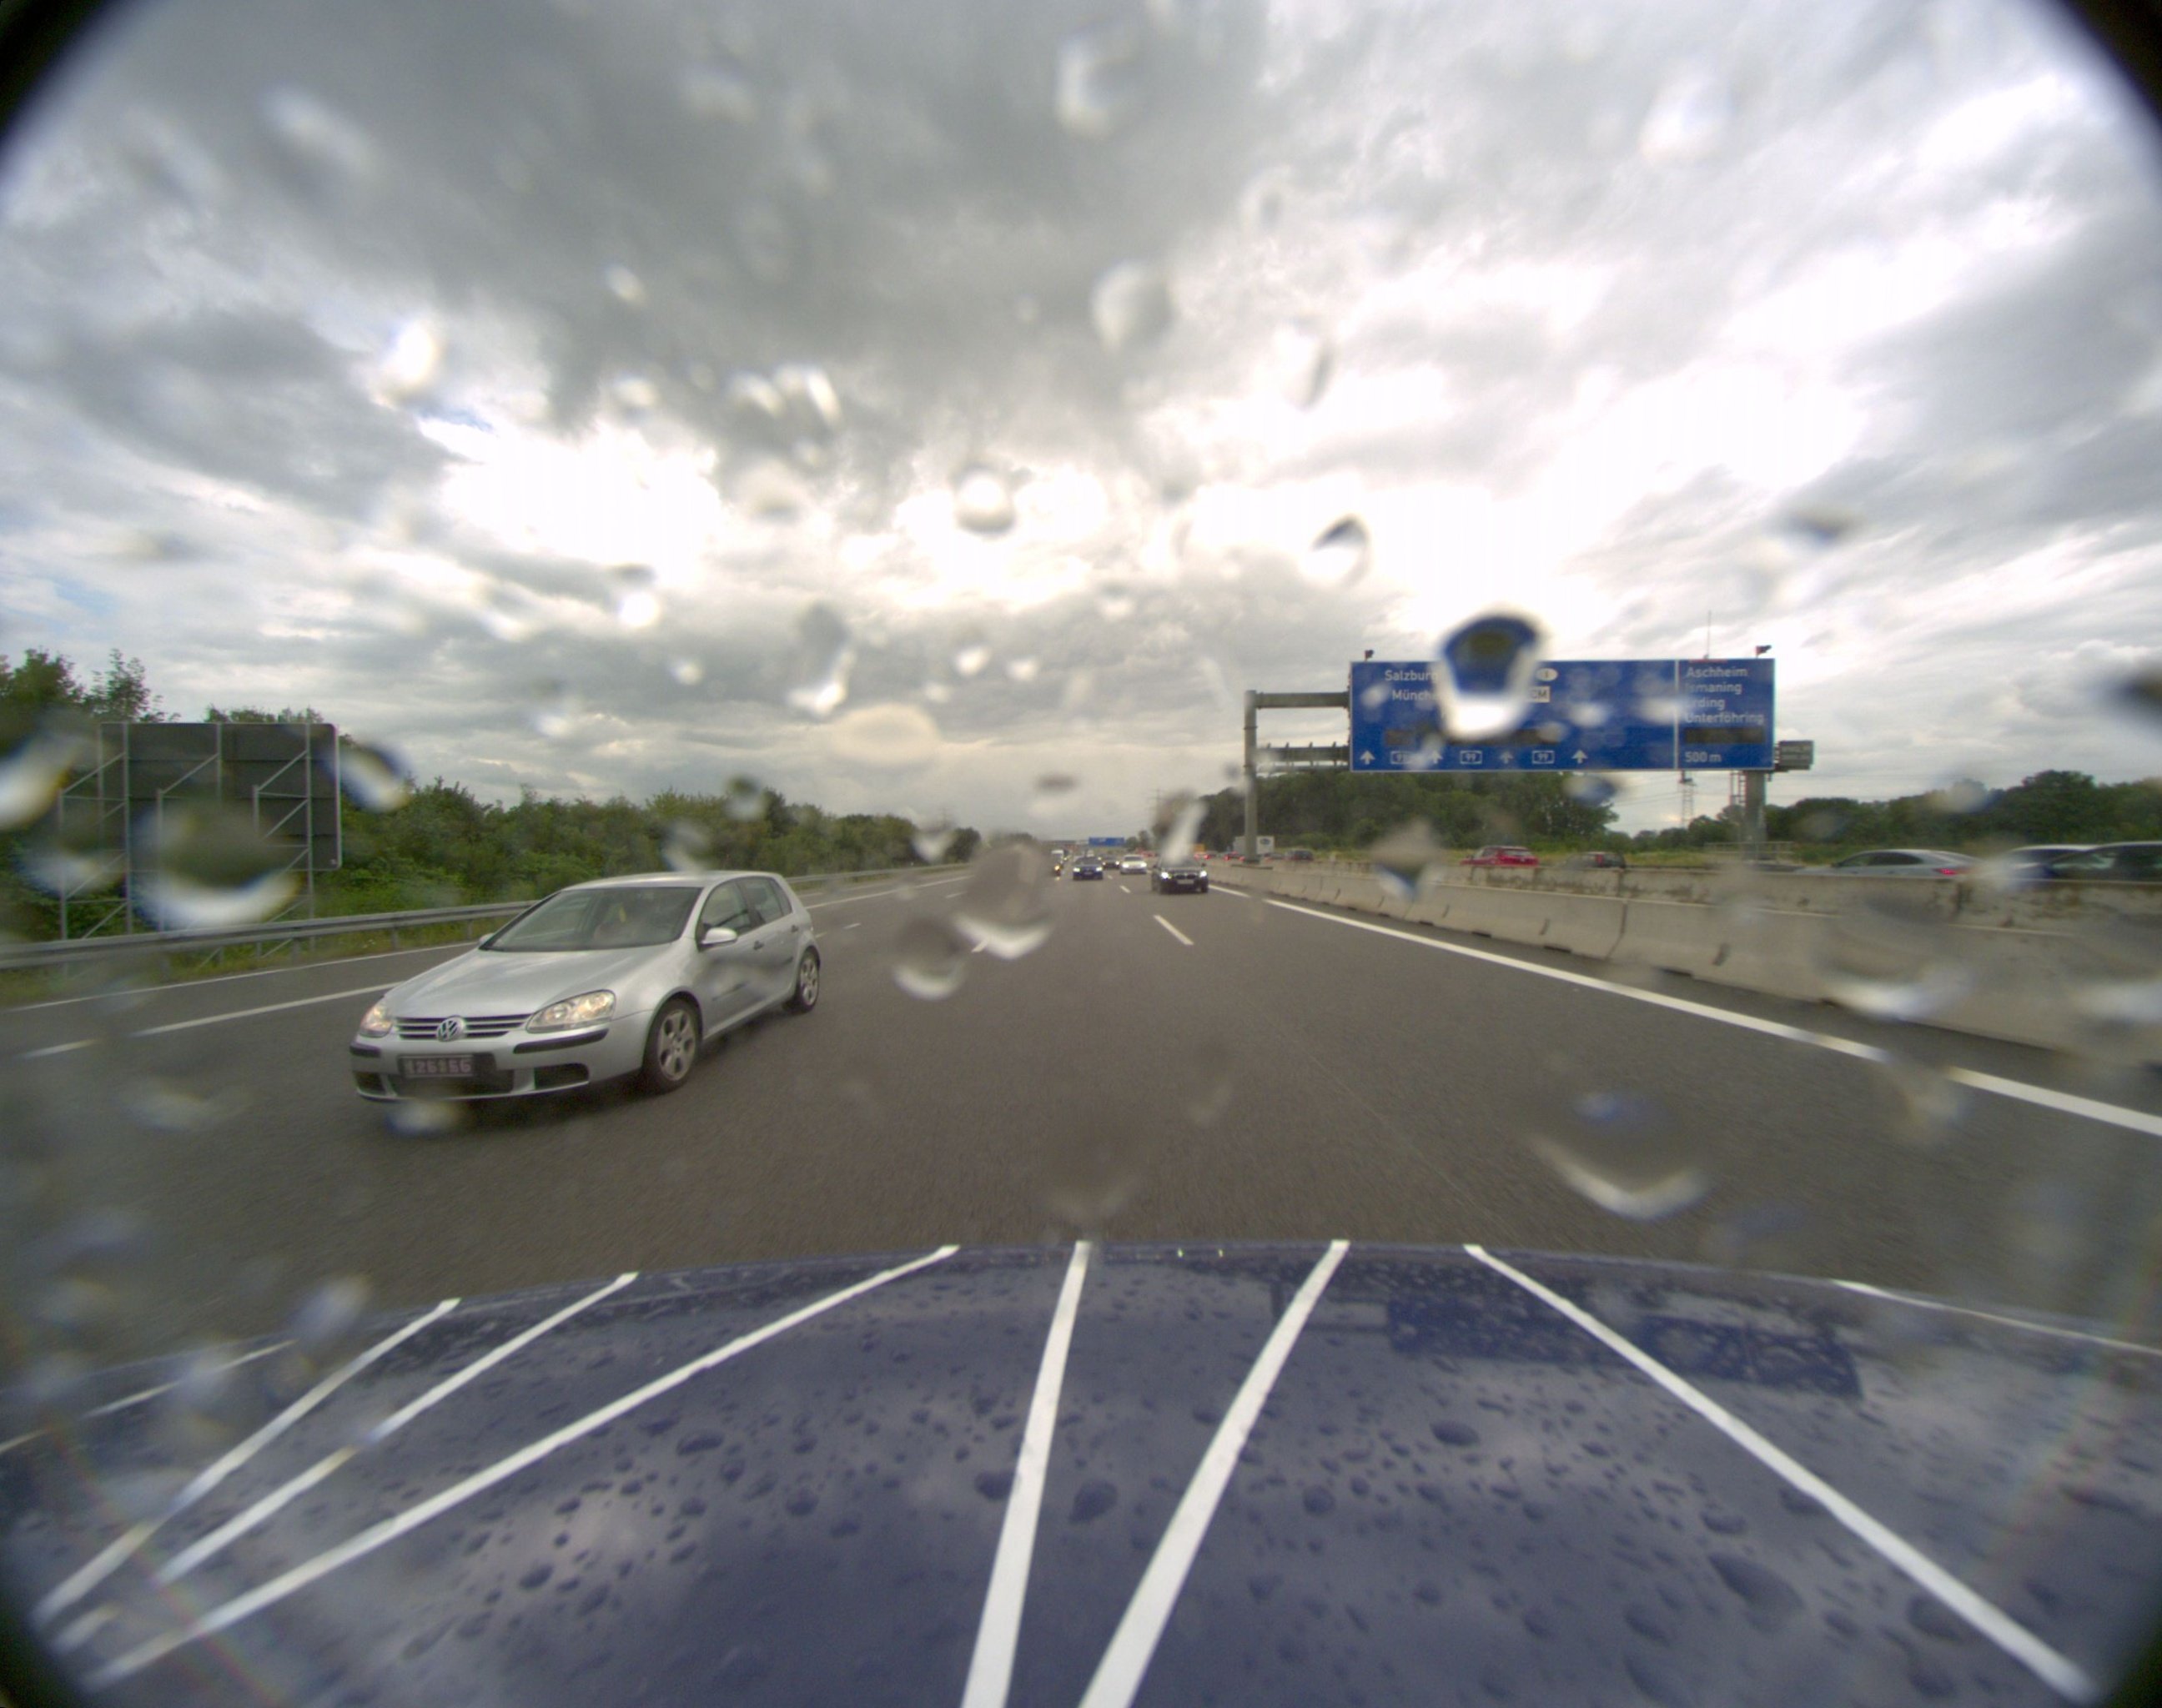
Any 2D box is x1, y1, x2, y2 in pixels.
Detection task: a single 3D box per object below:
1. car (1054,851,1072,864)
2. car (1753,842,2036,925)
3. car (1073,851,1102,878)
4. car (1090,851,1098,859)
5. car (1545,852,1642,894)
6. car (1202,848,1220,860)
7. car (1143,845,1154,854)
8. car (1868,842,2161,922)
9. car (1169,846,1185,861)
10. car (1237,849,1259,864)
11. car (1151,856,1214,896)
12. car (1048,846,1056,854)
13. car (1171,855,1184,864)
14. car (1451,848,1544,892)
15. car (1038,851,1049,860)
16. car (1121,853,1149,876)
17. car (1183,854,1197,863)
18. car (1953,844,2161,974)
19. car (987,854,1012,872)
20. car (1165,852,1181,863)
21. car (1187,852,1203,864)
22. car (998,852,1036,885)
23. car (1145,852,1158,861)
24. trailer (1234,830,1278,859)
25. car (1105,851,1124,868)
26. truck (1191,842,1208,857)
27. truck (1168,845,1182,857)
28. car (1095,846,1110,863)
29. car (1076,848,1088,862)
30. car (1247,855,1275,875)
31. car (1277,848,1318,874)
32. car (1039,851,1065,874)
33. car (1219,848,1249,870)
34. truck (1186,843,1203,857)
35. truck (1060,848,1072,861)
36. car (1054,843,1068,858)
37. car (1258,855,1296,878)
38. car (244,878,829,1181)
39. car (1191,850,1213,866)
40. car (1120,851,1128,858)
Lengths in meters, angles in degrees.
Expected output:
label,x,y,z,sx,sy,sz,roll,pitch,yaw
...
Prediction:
label,x,y,z,sx,sy,sz,roll,pitch,yaw
car,-2.189,0.367,91.014,1.945,1.482,4.774,-1,0,-3
car,21.953,0.717,20.964,2.248,1.941,5.225,-1,0,1
car,0.419,0.649,47.642,1.711,1.562,4.346,-1,0,1
car,3.627,0.325,212.967,1.998,2.002,4.751,-2,0,1
car,26.366,0.924,39.294,1.913,2.002,4.561,-1,0,1
car,22.066,0.024,129.162,1.998,1.862,5.392,-1,0,0
car,14.539,-0.983,164.314,1.999,2.002,4.424,-1,0,0
car,26.178,0.703,21.602,2.248,1.941,5.225,-1,0,1
car,21.892,-0.140,173.987,2.667,3.258,6.561,-1,0,-1
car,21.755,0.309,99.128,1.998,1.880,4.362,-1,0,0
car,3.799,0.802,29.129,1.923,1.407,4.000,-1,0,1
car,-7.788,-1.045,204.642,1.999,2.002,4.354,-1,0,-2
car,18.416,0.990,145.207,1.999,1.704,4.699,-1,0,0
car,18.062,0.651,33.218,1.682,1.735,4.337,-1,0,0
car,-7.815,0.310,157.856,1.892,1.739,4.000,-2,0,1
car,4.022,0.765,56.728,1.822,1.565,4.000,-1,0,1
car,22.113,0.898,154.199,1.999,1.704,4.699,-1,0,0
car,17.944,0.860,12.395,1.998,2.002,4.764,-1,0,1
car,-7.395,0.800,69.431,1.815,1.589,4.694,-1,0,-2
car,15.110,0.514,124.496,1.999,1.704,4.871,-1,0,0
car,18.504,0.638,123.508,1.998,1.862,4.760,-1,0,0
car,-3.391,0.734,40.909,1.785,1.603,4.597,-1,0,-2
car,13.709,0.414,148.305,1.999,1.739,4.000,-1,0,0
trailer,25.935,-1.288,113.176,3.247,4.005,13.807,-1,0,0
car,3.284,0.538,74.797,1.711,1.621,4.000,-1,0,1
truck,29.499,-1.081,189.348,2.885,3.591,9.580,-1,0,1
truck,26.244,-0.874,212.523,2.917,3.271,9.200,-1,0,0
car,3.352,0.100,119.248,2.145,2.486,5.448,-1,0,1
car,0.250,0.142,143.892,2.145,2.486,5.447,-1,0,0
car,18.655,1.097,78.837,1.888,2.002,4.000,-1,0,0
car,17.933,0.572,63.146,1.998,2.002,4.760,-1,0,0
car,-2.134,0.647,57.703,1.711,1.621,4.457,-1,0,1
car,14.965,0.454,74.600,1.998,2.002,4.760,-1,0,0
truck,29.603,-1.099,198.652,2.885,3.591,10.311,-1,0,1
truck,-3.343,0.121,168.806,2.392,2.726,6.591,-1,0,-3
car,-3.351,-0.548,128.462,2.145,2.486,5.447,-1,0,-1
car,14.411,0.867,56.079,1.733,1.586,4.000,-1,0,1
car,-3.613,1.014,6.135,1.800,1.468,4.037,-1,0,-1
car,14.490,0.488,91.182,1.998,1.880,4.362,-1,0,0
car,13.323,0.153,234.564,1.999,1.955,4.696,-1,0,-1
